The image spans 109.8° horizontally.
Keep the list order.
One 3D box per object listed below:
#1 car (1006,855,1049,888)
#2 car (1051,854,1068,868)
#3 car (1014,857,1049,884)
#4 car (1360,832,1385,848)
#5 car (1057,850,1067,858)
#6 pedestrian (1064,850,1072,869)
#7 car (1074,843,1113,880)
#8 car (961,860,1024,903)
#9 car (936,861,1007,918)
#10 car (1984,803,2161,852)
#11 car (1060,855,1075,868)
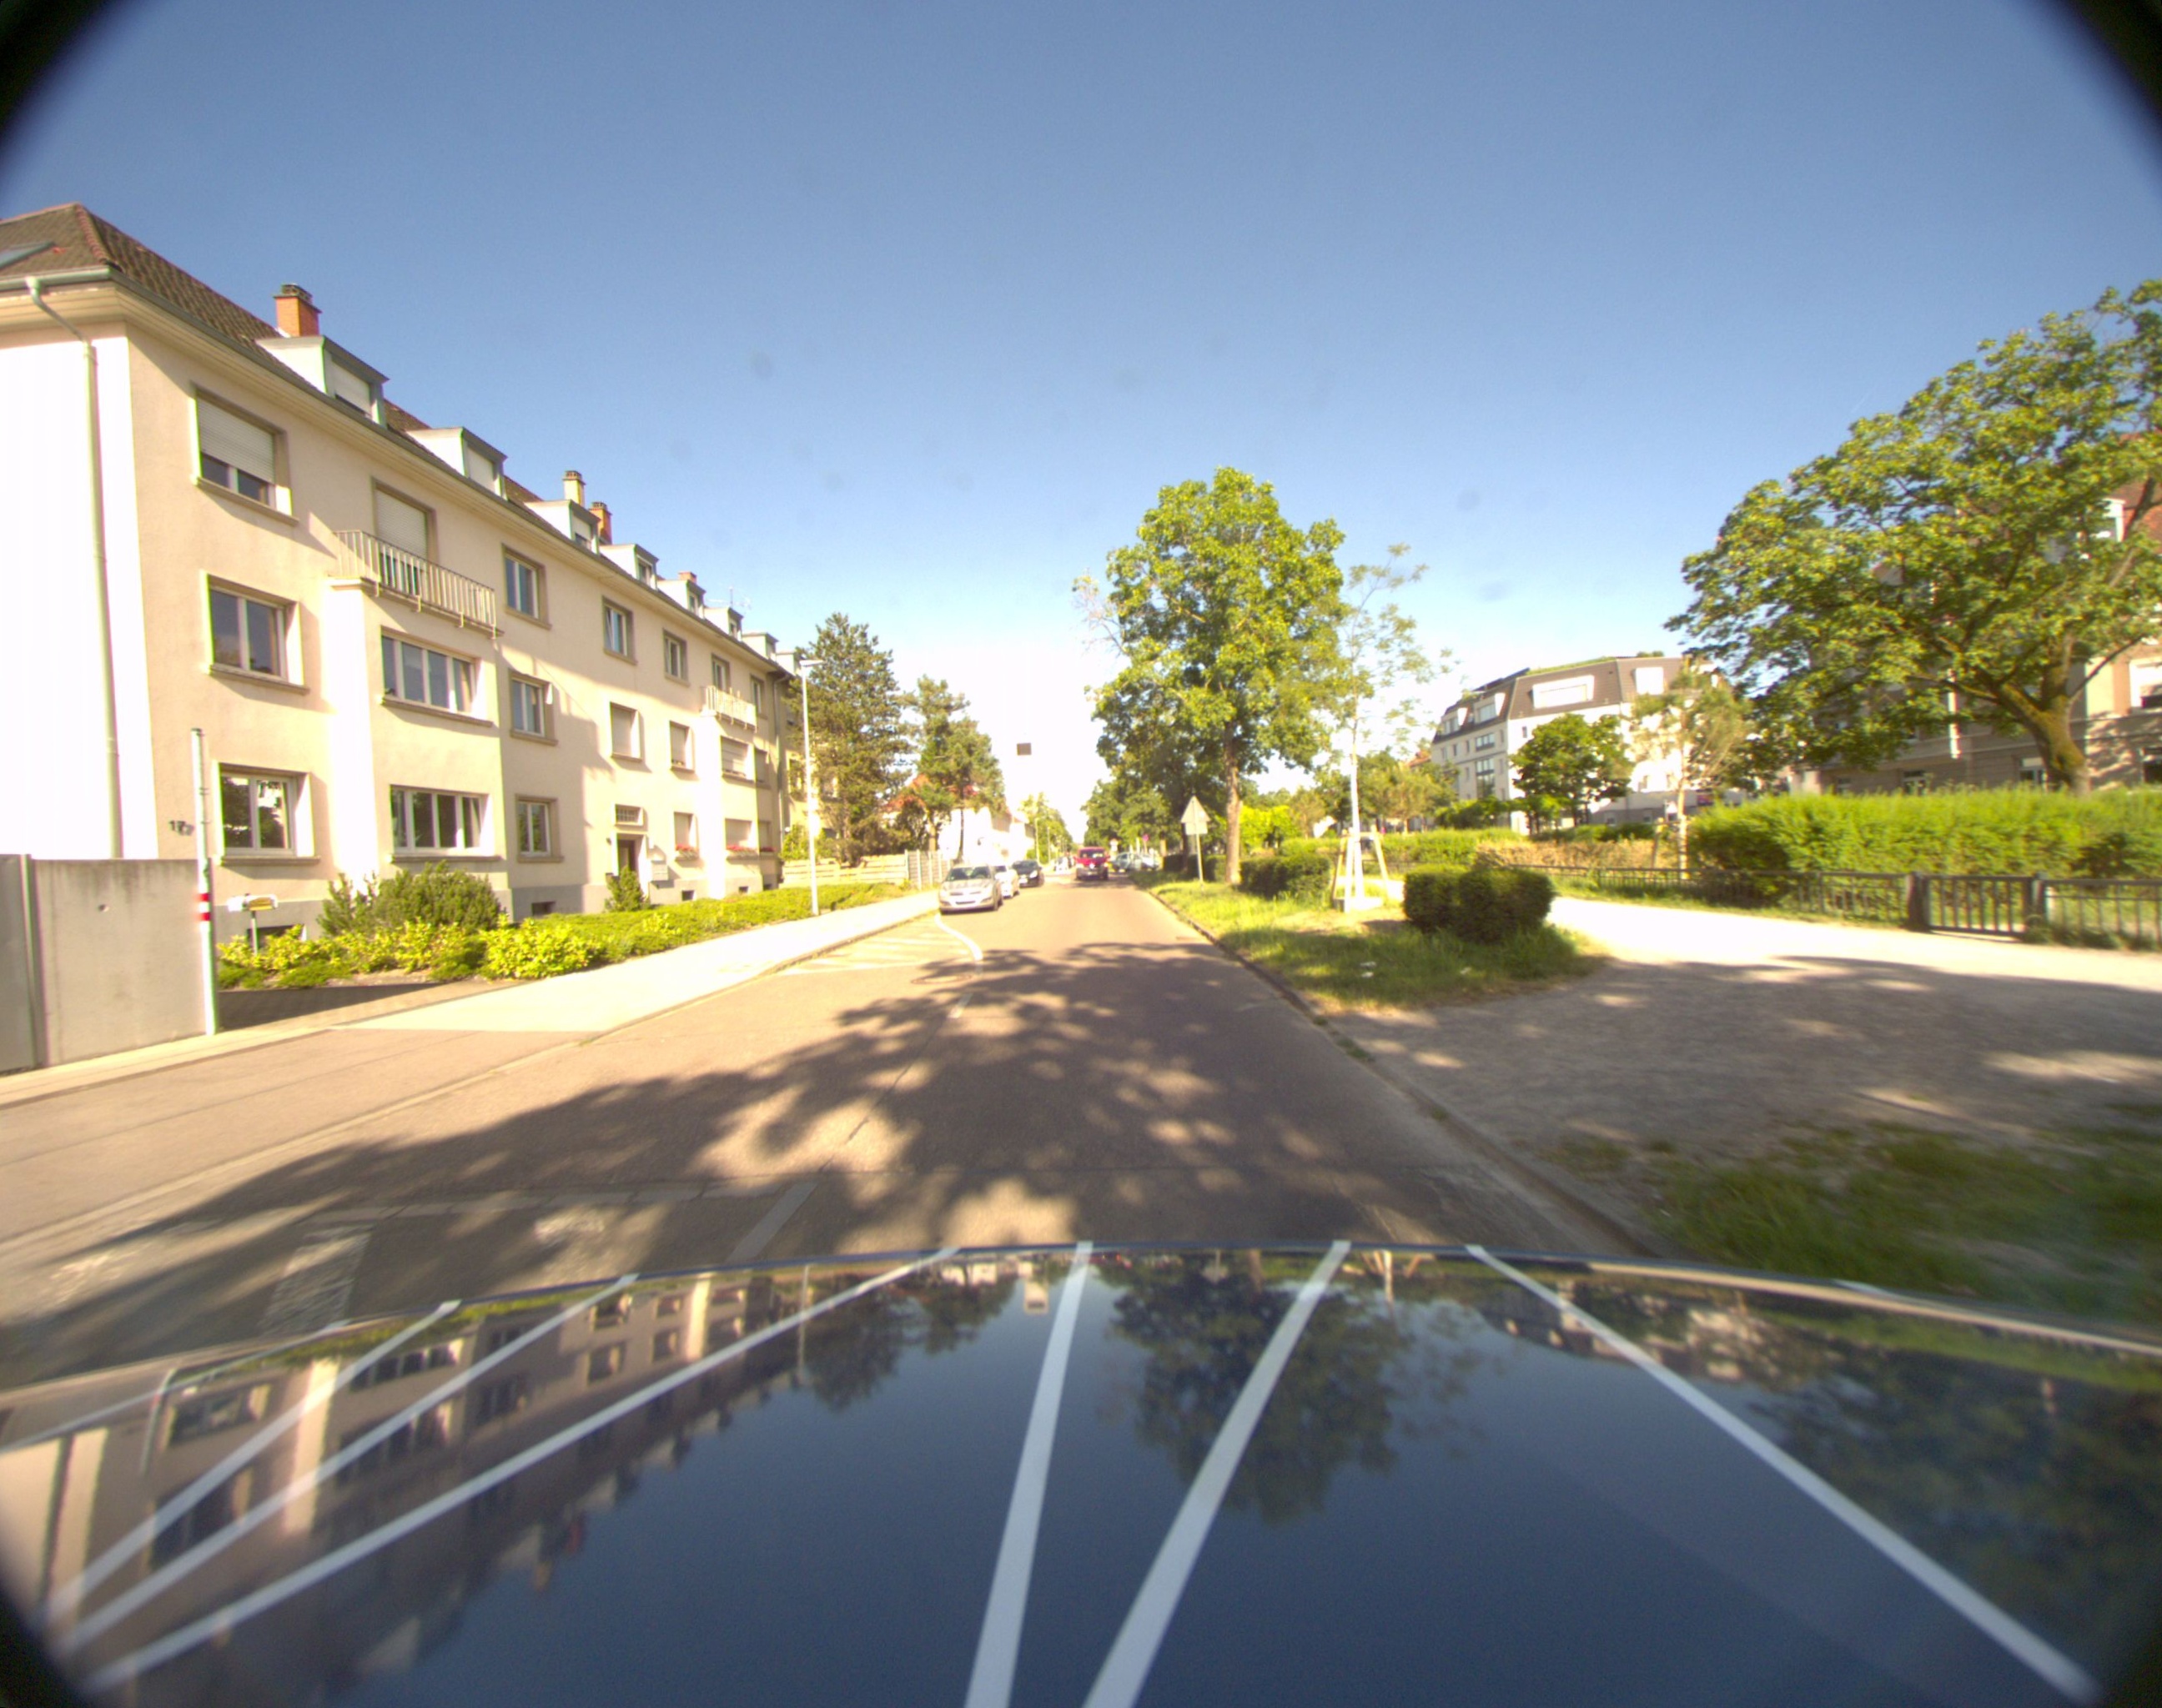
[{"bbox_3d":[-2.792,0.906,40.163,1.798,1.501,3.995,-4,0,1],"label":"car"},{"bbox_3d":[-2.515,0.844,89.770,1.799,1.529,4.001,-3,-1,1],"label":"car"},{"bbox_3d":[-2.974,0.963,46.454,1.676,1.414,4.134,-4,0,1],"label":"car"},{"bbox_3d":[41.097,-1.945,107.119,1.941,2.017,4.406,-2,0,3],"label":"car"},{"bbox_3d":[-3.803,-0.002,151.297,1.799,1.529,4.001,-3,-1,1],"label":"car"},{"bbox_3d":[-1.183,0.522,68.562,0.650,1.658,0.649,-2,3,-10],"label":"pedestrian"},{"bbox_3d":[0.739,0.424,45.058,2.092,2.000,4.844,-2,0,1],"label":"car"},{"bbox_3d":[-3.412,1.031,30.041,1.798,1.412,4.288,-4,0,1],"label":"car"},{"bbox_3d":[-3.295,1.025,23.613,1.664,1.456,4.410,-4,0,-3],"label":"car"},{"bbox_3d":[36.864,-0.923,27.980,1.798,1.626,4.587,-3,0,2],"label":"car"},{"bbox_3d":[-1.799,0.966,99.805,1.799,1.529,4.001,-3,-1,1],"label":"car"}]
